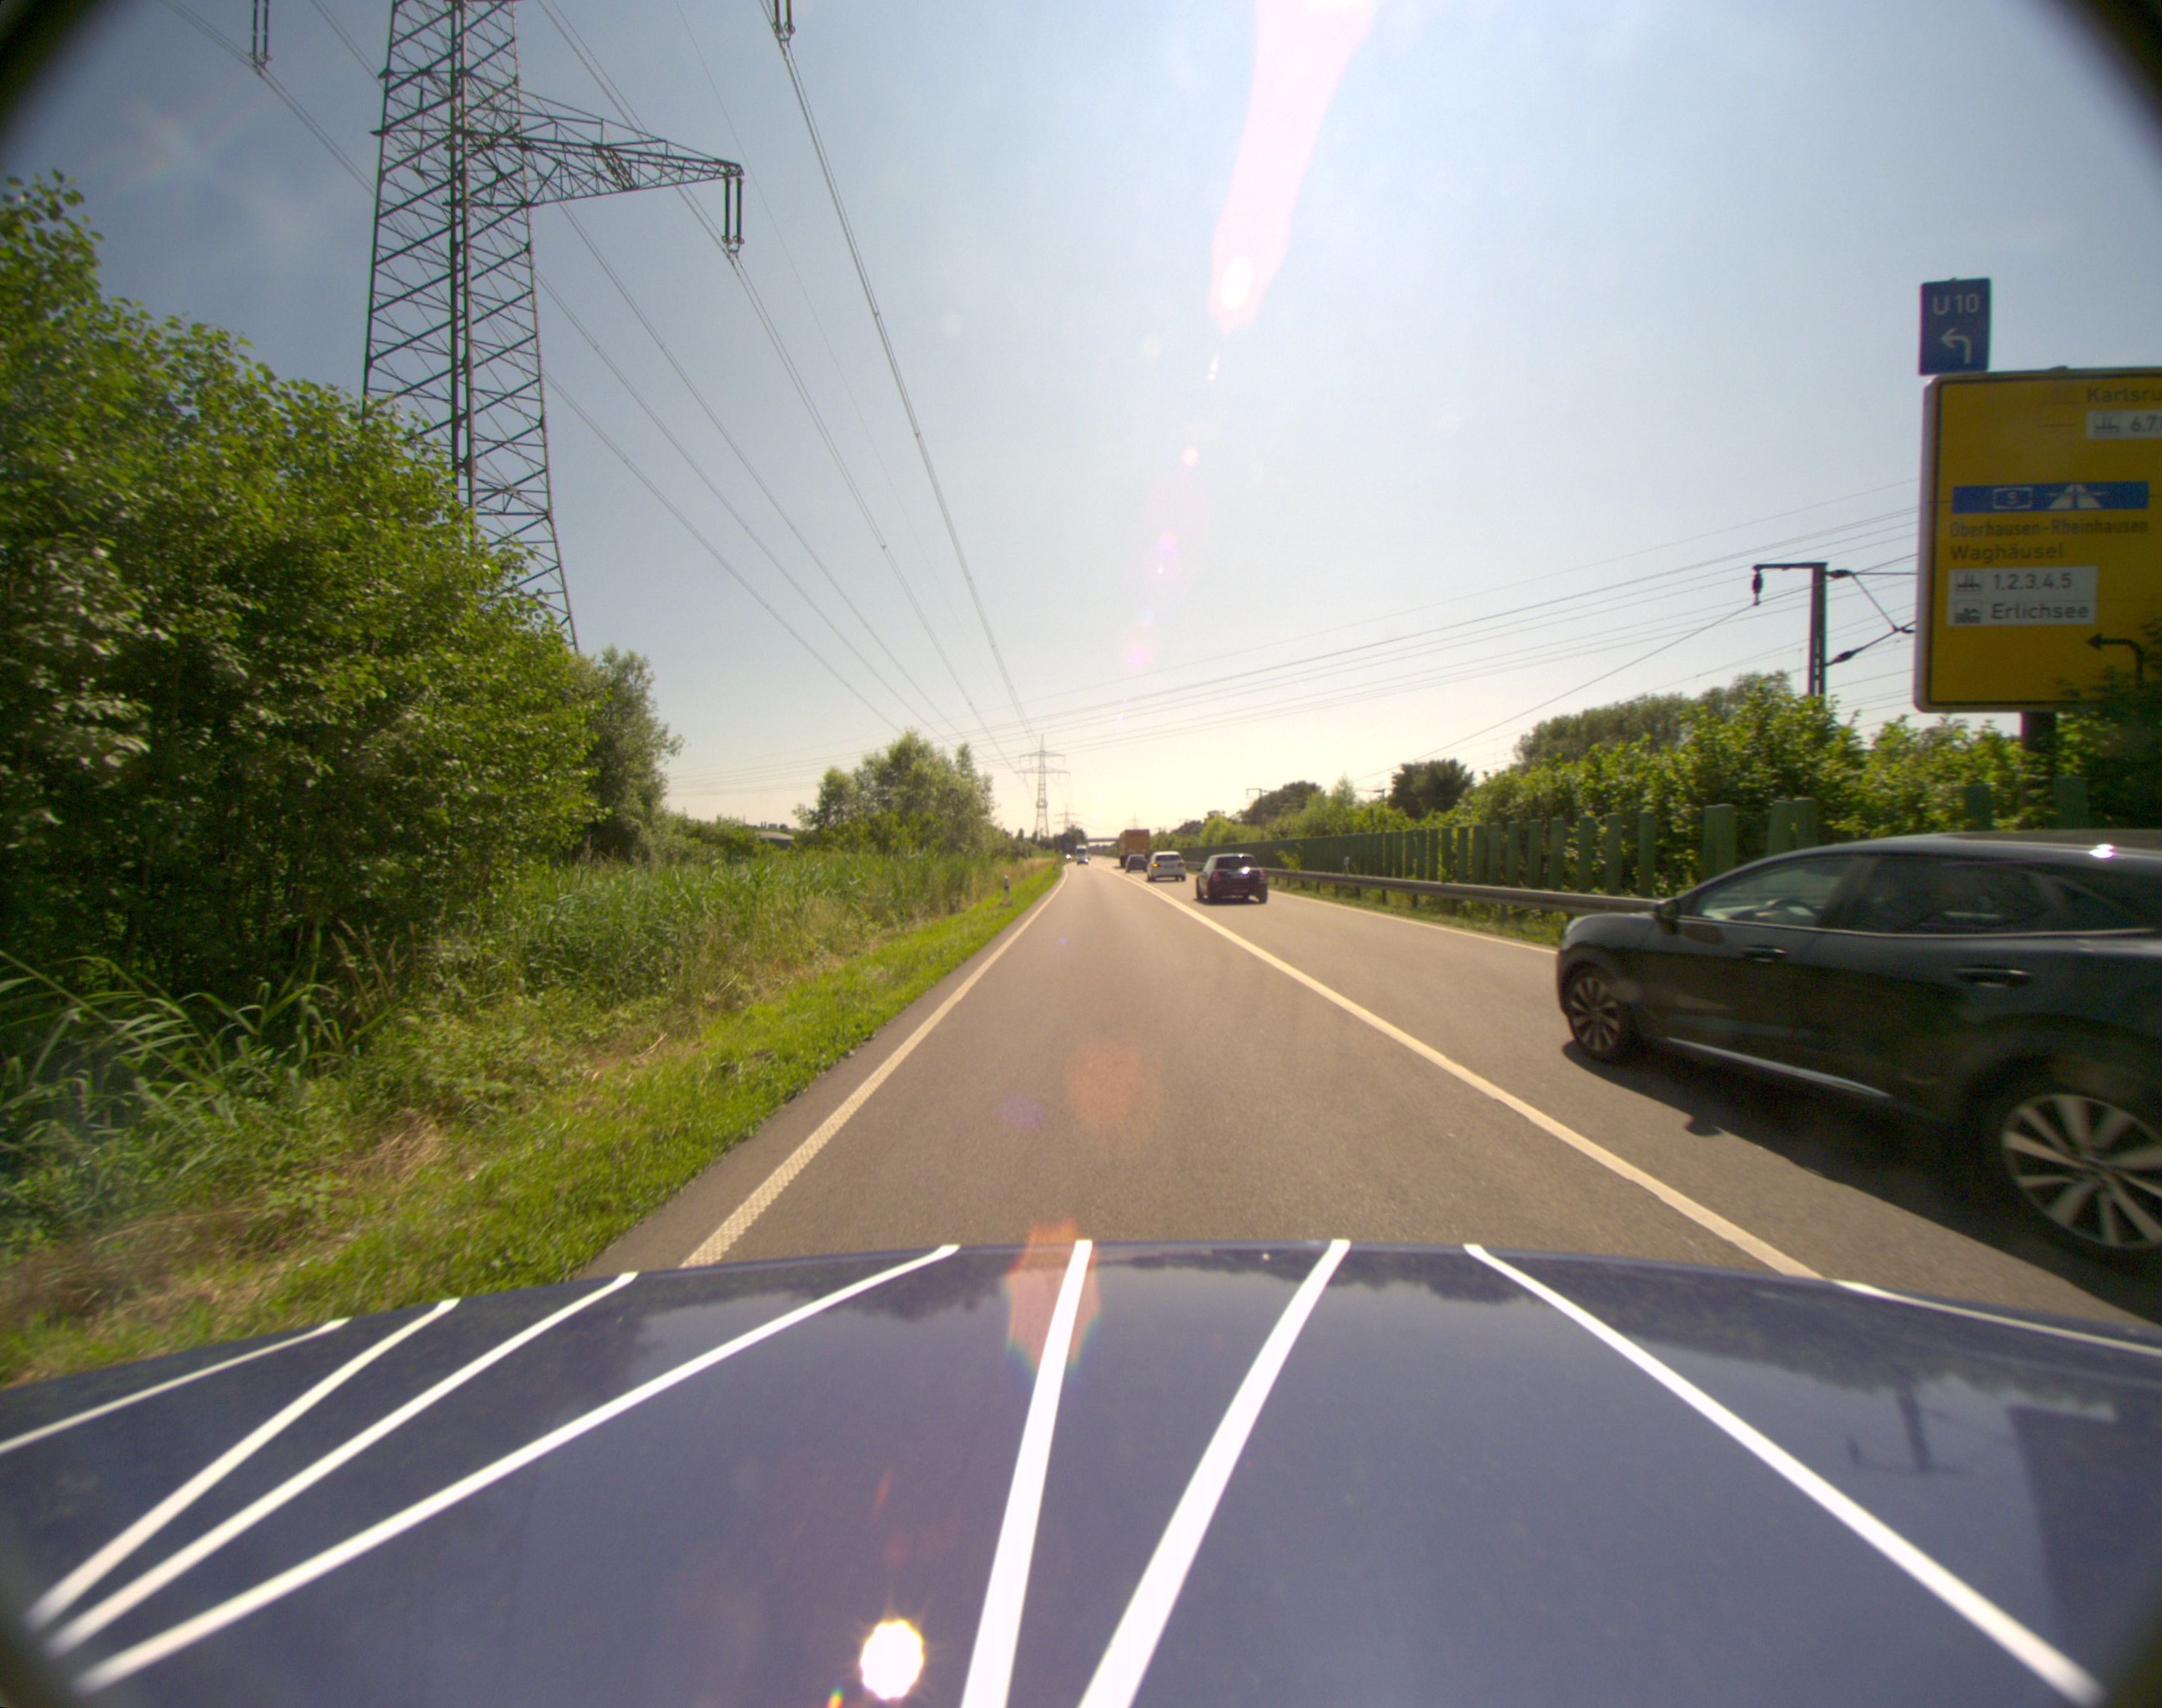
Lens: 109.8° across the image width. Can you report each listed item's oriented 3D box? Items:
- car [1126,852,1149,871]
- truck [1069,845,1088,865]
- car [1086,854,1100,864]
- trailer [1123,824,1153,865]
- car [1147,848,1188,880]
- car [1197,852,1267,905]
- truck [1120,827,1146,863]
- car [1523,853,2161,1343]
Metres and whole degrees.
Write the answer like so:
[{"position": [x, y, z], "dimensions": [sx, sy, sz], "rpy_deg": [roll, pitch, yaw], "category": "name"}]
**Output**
[{"position": [4.554, 0.589, 61.858], "dimensions": [1.618, 1.433, 3.794], "rpy_deg": [-2, 0, 0], "category": "car"}, {"position": [-0.493, 0.149, 187.945], "dimensions": [4.219, 4.608, 21.303], "rpy_deg": [-2, 0, 0], "category": "truck"}, {"position": [1.700, 0.673, 110.271], "dimensions": [1.998, 1.346, 4.157], "rpy_deg": [-3, 1, 0], "category": "car"}, {"position": [6.104, -0.968, 82.759], "dimensions": [2.554, 4.120, 9.228], "rpy_deg": [-2, 0, 1], "category": "trailer"}, {"position": [4.627, 0.495, 41.381], "dimensions": [1.829, 1.596, 4.323], "rpy_deg": [-2, 0, 2], "category": "car"}, {"position": [4.525, 0.686, 23.266], "dimensions": [1.510, 1.426, 3.743], "rpy_deg": [-2, 0, 2], "category": "car"}, {"position": [6.271, -1.060, 92.735], "dimensions": [2.554, 4.104, 10.603], "rpy_deg": [-2, 0, 1], "category": "truck"}, {"position": [4.269, 0.773, 3.767], "dimensions": [1.677, 1.506, 4.289], "rpy_deg": [-1, 0, 1], "category": "car"}]
